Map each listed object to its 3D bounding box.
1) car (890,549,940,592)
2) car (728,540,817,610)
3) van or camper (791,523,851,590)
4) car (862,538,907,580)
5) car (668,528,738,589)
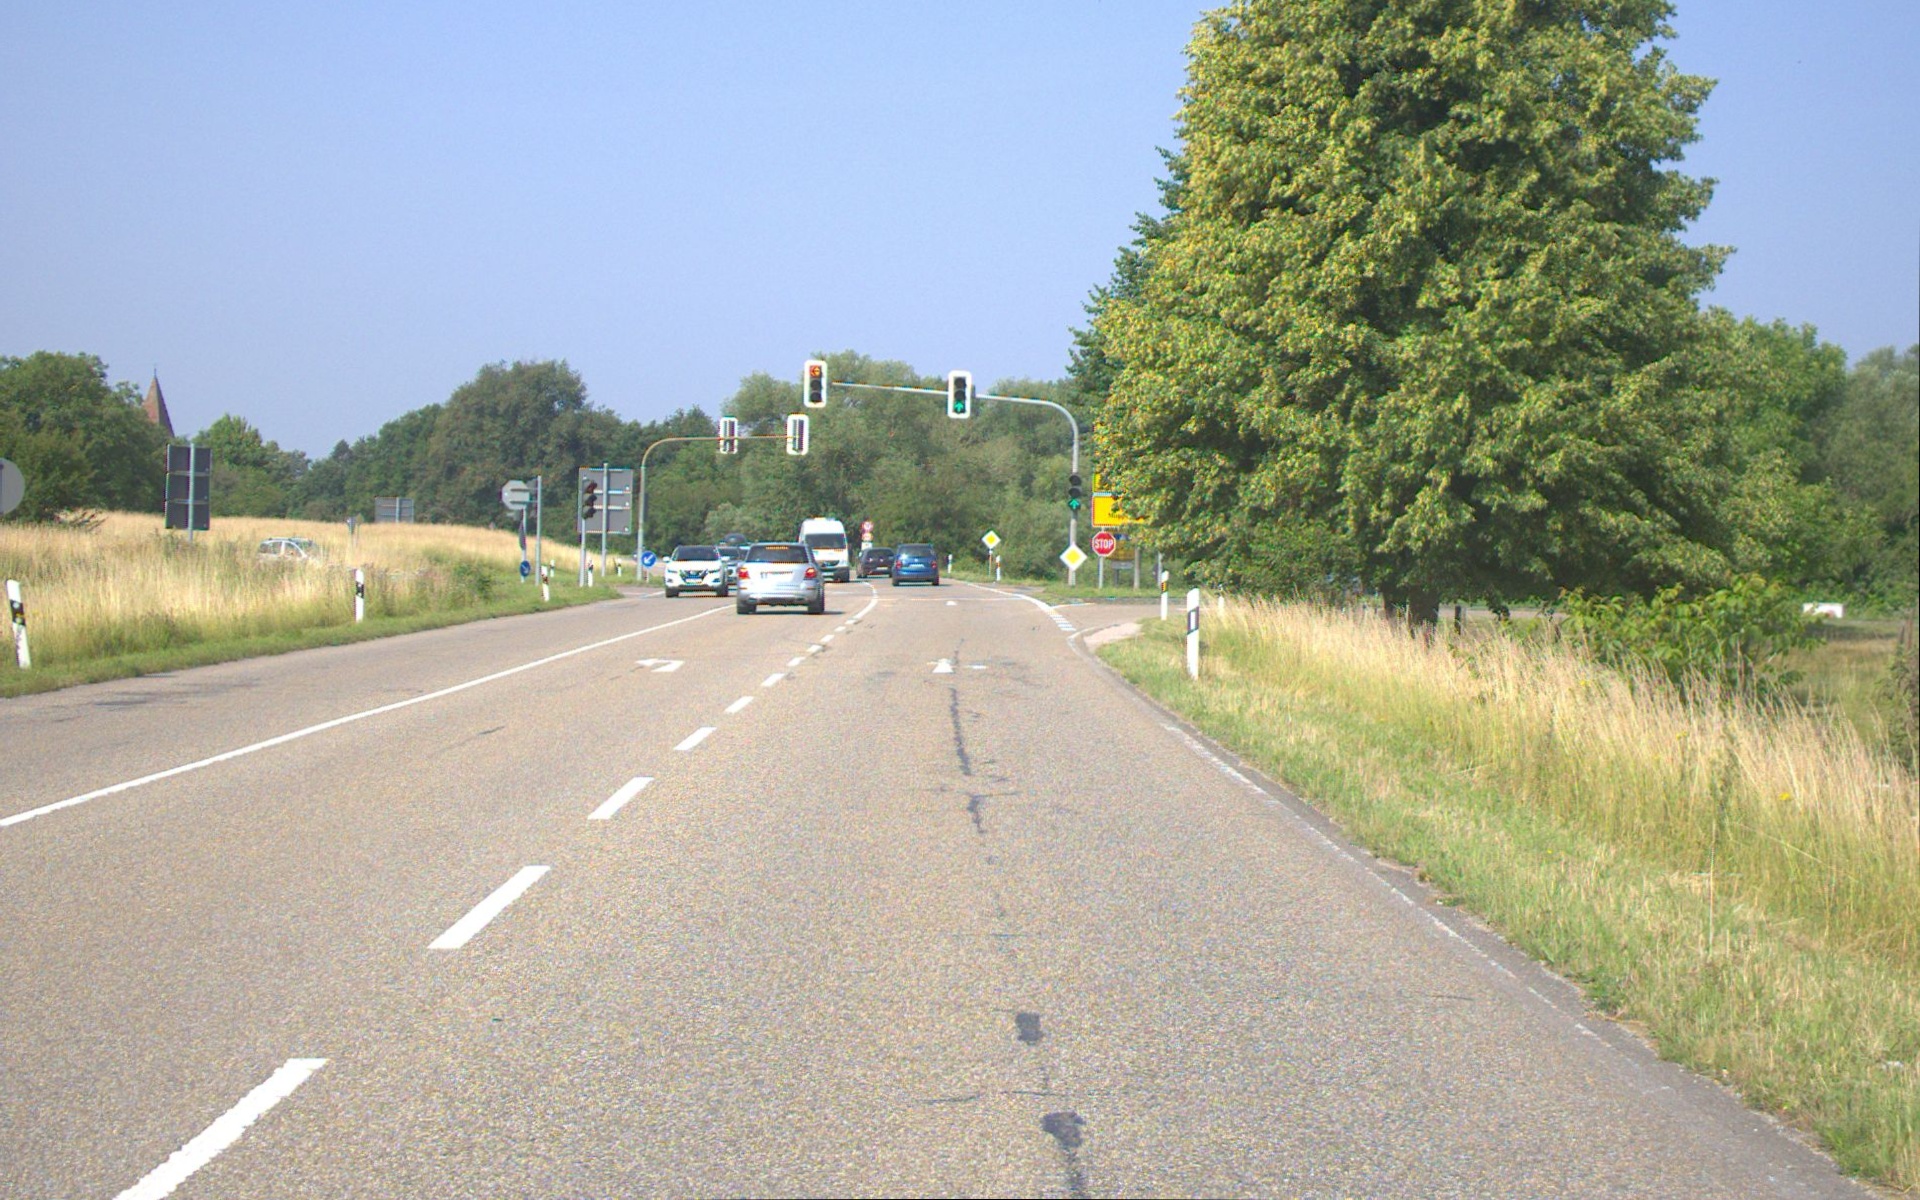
[{"bbox_3d":[-1.733,-1.161,132.924,1.816,1.515,4.000,4,1,0],"label":"car"},{"bbox_3d":[-4.196,-0.584,77.388,1.899,1.506,4.001,1,1,-2],"label":"car"},{"bbox_3d":[-5.853,-1.855,145.300,2.265,2.700,5.262,1,1,0],"label":"van or camper"},{"bbox_3d":[-3.540,-1.938,161.699,1.993,1.809,4.000,4,1,-1],"label":"car"},{"bbox_3d":[-7.939,-1.283,106.392,1.592,1.722,4.000,4,1,2],"label":"car"}]
